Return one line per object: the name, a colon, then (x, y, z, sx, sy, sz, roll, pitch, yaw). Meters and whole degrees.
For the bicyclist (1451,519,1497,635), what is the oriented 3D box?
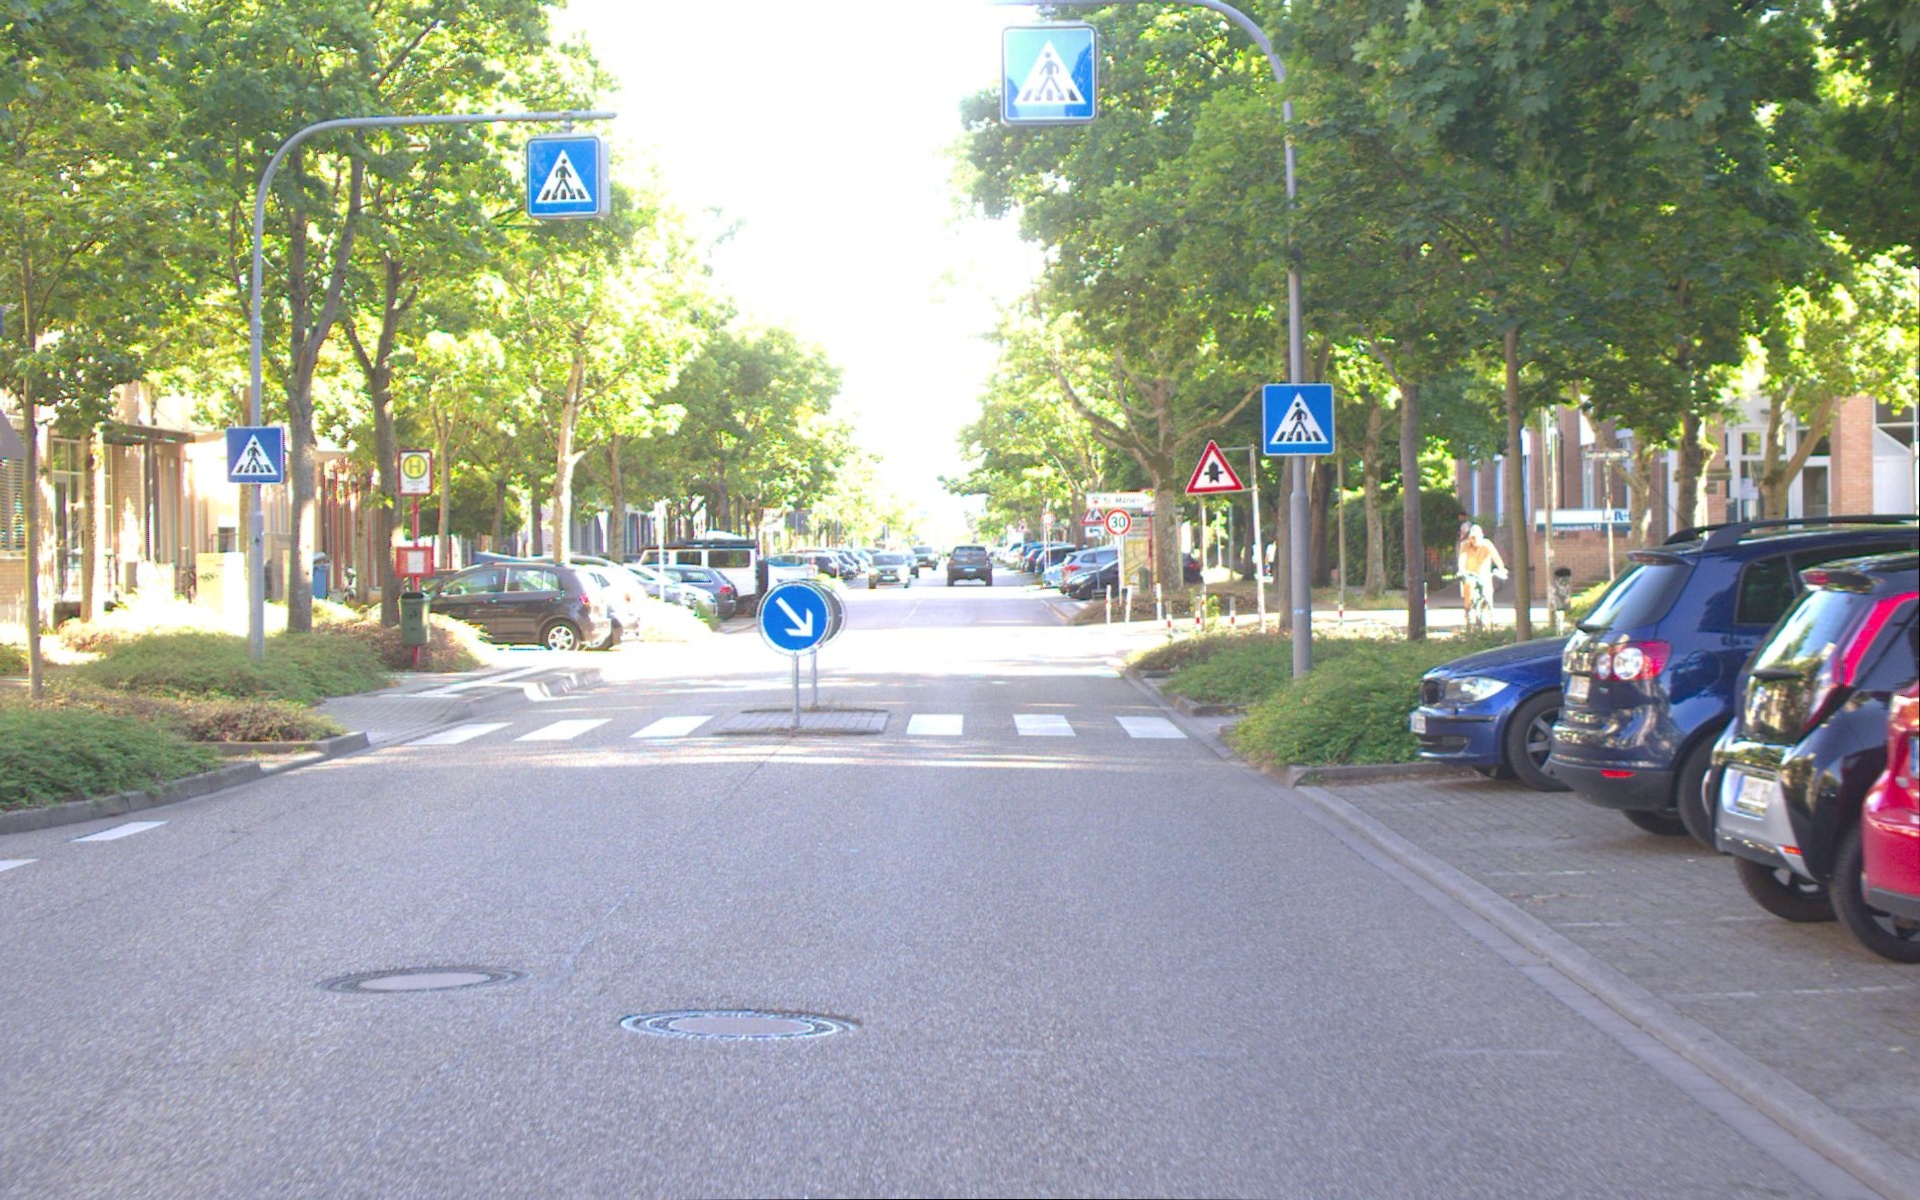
bicyclist: (7.308, -0.334, 48.884, 0.537, 1.631, 0.822, -1, 1, 1)

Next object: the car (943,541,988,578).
car: (0.234, -1.813, 153.362, 1.933, 1.592, 4.366, -1, 1, 0)

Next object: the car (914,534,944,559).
car: (-2.138, -3.640, 234.846, 1.891, 1.678, 4.353, -1, 1, -2)

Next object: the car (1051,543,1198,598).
car: (5.168, -0.926, 108.203, 4.351, 1.592, 1.940, -1, 1, -6)

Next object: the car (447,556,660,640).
car: (-7.598, -0.055, 64.462, 3.754, 1.447, 1.754, 1, 1, 0)

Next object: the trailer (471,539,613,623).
trailer: (-8.675, -0.398, 71.475, 2.725, 1.681, 1.712, 1, 1, 1)

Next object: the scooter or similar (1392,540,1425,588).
scooter or similar: (12.658, -1.023, 97.044, 0.549, 1.321, 1.806, 1, 1, -5)

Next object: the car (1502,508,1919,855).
car: (5.004, 0.335, 17.398, 4.124, 1.584, 1.660, -3, 0, -4)

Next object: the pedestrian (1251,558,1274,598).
pedestrian: (11.065, -0.807, 125.859, 0.700, 1.453, 0.715, -1, 1, -2)

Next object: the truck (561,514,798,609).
truck: (-7.646, -1.048, 94.225, 6.232, 2.413, 2.187, -1, 1, 1)

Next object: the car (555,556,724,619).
car: (-7.725, -0.302, 83.101, 3.835, 1.456, 1.732, 1, 1, 4)

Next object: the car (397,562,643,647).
car: (-7.832, 0.071, 61.430, 4.151, 1.398, 1.801, 1, 1, 0)

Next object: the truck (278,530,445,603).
truck: (-23.535, -1.329, 135.398, 6.103, 2.695, 2.578, -1, 1, -1)

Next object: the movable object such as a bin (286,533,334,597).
movable object such as a bin: (-16.675, -0.904, 88.164, 1.144, 1.614, 1.442, -1, 1, -12)

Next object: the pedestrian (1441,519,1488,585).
pedestrian: (13.384, -1.276, 91.223, 0.917, 1.705, 0.698, -4, 2, -13)

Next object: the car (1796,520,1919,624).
car: (14.925, -0.420, 55.312, 1.738, 1.560, 4.366, 0, -1, -2)

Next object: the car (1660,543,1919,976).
car: (4.899, 0.461, 12.836, 4.124, 1.456, 1.660, -3, 1, -4)

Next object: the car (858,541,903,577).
car: (-3.366, -1.755, 146.448, 1.779, 1.506, 4.000, -1, 1, 0)

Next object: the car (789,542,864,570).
car: (-7.106, -2.343, 183.368, 3.892, 1.459, 1.858, -1, 1, -1)

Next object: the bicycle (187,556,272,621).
bicycle: (-16.042, -0.252, 75.465, 1.724, 1.404, 0.615, 1, 0, -22)

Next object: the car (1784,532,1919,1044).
car: (4.854, 0.500, 10.561, 4.124, 1.512, 1.837, -1, 1, -4)

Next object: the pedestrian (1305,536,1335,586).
pedestrian: (12.612, -1.358, 120.480, 0.695, 1.705, 0.921, -4, 2, -11)

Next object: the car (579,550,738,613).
car: (-7.482, -0.467, 85.555, 3.778, 1.487, 1.833, 1, 1, 1)

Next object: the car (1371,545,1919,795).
car: (4.845, 0.404, 22.017, 4.115, 1.366, 1.655, -3, 1, -3)

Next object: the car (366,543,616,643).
car: (-7.963, -0.131, 58.610, 3.987, 1.565, 1.728, 2, 1, 0)

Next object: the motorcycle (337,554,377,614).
motorcycle: (-16.356, -0.434, 93.257, 0.714, 1.585, 2.110, -1, 1, -1)

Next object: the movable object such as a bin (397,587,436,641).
movable object such as a bin: (-7.324, 0.187, 46.345, 0.441, 0.728, 0.408, 1, 0, 0)

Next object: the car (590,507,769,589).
car: (-7.224, -1.333, 88.903, 4.481, 2.045, 2.000, 1, 0, -2)

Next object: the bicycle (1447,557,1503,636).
bicycle: (7.311, -0.060, 48.882, 0.534, 1.074, 1.920, -1, 1, 1)
